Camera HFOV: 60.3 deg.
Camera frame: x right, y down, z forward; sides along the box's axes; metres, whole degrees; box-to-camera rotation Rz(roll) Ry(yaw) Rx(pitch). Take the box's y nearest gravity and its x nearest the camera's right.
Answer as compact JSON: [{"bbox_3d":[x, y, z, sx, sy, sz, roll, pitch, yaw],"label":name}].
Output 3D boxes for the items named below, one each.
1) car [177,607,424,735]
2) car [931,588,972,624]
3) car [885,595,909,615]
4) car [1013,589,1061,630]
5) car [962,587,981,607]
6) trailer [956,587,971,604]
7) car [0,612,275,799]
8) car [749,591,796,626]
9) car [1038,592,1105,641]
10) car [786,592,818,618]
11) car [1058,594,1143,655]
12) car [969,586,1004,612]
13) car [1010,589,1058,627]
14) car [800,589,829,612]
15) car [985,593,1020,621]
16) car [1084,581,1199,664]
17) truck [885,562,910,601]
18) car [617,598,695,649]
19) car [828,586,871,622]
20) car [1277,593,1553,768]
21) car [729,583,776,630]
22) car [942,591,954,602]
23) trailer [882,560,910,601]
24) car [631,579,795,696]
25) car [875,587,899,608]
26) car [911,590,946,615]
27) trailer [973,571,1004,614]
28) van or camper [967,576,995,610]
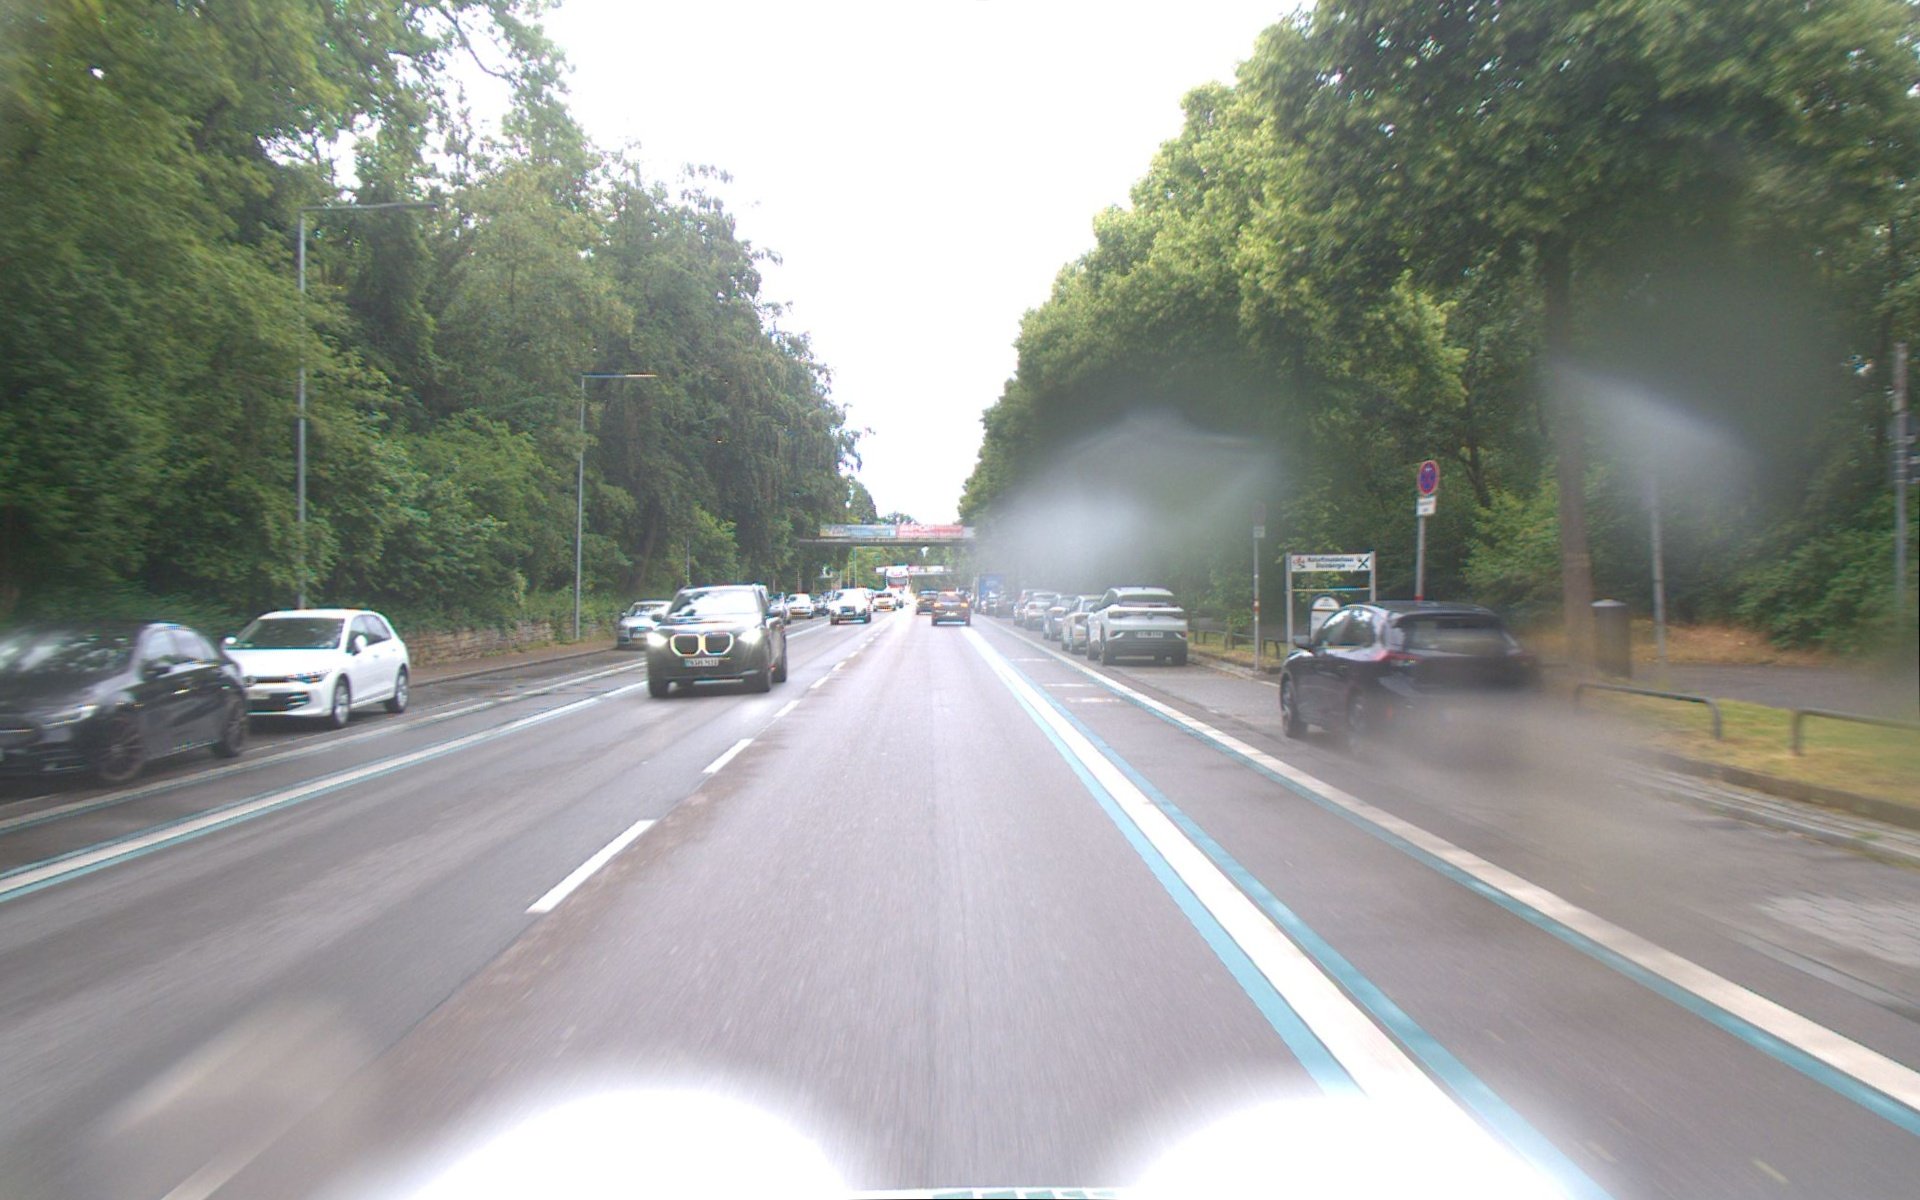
[{"bbox_3d":[-8.699,0.869,22.229,1.719,1.460,4.355,-1,1,-3],"label":"car"},{"bbox_3d":[-0.386,0.248,73.799,1.781,1.534,4.139,1,0,0],"label":"car"},{"bbox_3d":[-5.371,0.430,141.107,1.921,1.645,4.465,-1,0,-1],"label":"car"},{"bbox_3d":[3.061,0.358,66.492,1.663,1.540,4.468,1,0,-1],"label":"car"},{"bbox_3d":[1.258,-0.322,181.030,1.887,2.057,4.662,1,0,-1],"label":"car"},{"bbox_3d":[0.472,-0.623,224.367,1.845,2.204,3.807,-1,0,-1],"label":"trailer"},{"bbox_3d":[-8.148,0.877,15.596,1.785,1.423,4.442,0,1,-4],"label":"car"},{"bbox_3d":[-9.511,0.410,84.287,1.970,1.633,4.778,-1,1,-2],"label":"car"},{"bbox_3d":[3.501,0.485,52.689,1.664,1.479,4.096,1,0,-3],"label":"car"},{"bbox_3d":[-9.626,0.306,100.973,1.753,1.508,3.980,-1,1,-3],"label":"car"},{"bbox_3d":[3.559,0.590,42.549,1.664,1.479,3.944,1,0,-3],"label":"car"},{"bbox_3d":[1.662,-0.072,104.702,1.862,1.574,4.752,1,0,-4],"label":"car"},{"bbox_3d":[3.207,0.332,72.469,1.718,1.625,4.738,1,0,-2],"label":"car"},{"bbox_3d":[-9.779,0.023,111.427,1.795,1.502,4.037,-1,0,-4],"label":"car"},{"bbox_3d":[2.444,0.396,95.510,1.788,1.529,4.569,1,0,-2],"label":"car"},{"bbox_3d":[3.924,0.451,36.404,1.953,1.691,4.562,-1,0,-1],"label":"car"},{"bbox_3d":[-6.836,-1.995,180.165,2.467,4.117,4.914,-3,0,-3],"label":"truck"},{"bbox_3d":[-9.200,0.692,50.308,1.656,1.429,4.027,0,1,0],"label":"car"},{"bbox_3d":[-5.361,0.185,80.394,1.914,1.667,4.443,-1,1,-2],"label":"car"},{"bbox_3d":[4.372,0.696,16.495,1.660,1.502,3.998,0,0,0],"label":"car"},{"bbox_3d":[-9.420,0.275,75.368,1.935,2.040,5.013,0,1,-5],"label":"car"},{"bbox_3d":[-1.782,-0.548,241.723,1.695,1.611,4.036,-1,0,0],"label":"car"},{"bbox_3d":[-7.274,-2.131,187.084,2.635,4.333,12.759,-3,0,-4],"label":"trailer"},{"bbox_3d":[-3.883,0.533,26.736,1.996,1.678,4.476,-1,0,-1],"label":"car"},{"bbox_3d":[-5.586,-0.202,126.255,1.740,1.491,4.061,-2,0,-2],"label":"car"},{"bbox_3d":[-2.018,0.170,104.966,2.097,1.518,4.496,1,0,-3],"label":"car"},{"bbox_3d":[1.881,-0.510,110.517,1.913,2.807,4.006,0,0,-1],"label":"trailer"},{"bbox_3d":[1.773,-0.604,141.509,2.001,2.777,6.898,1,0,-2],"label":"van or camper"}]
